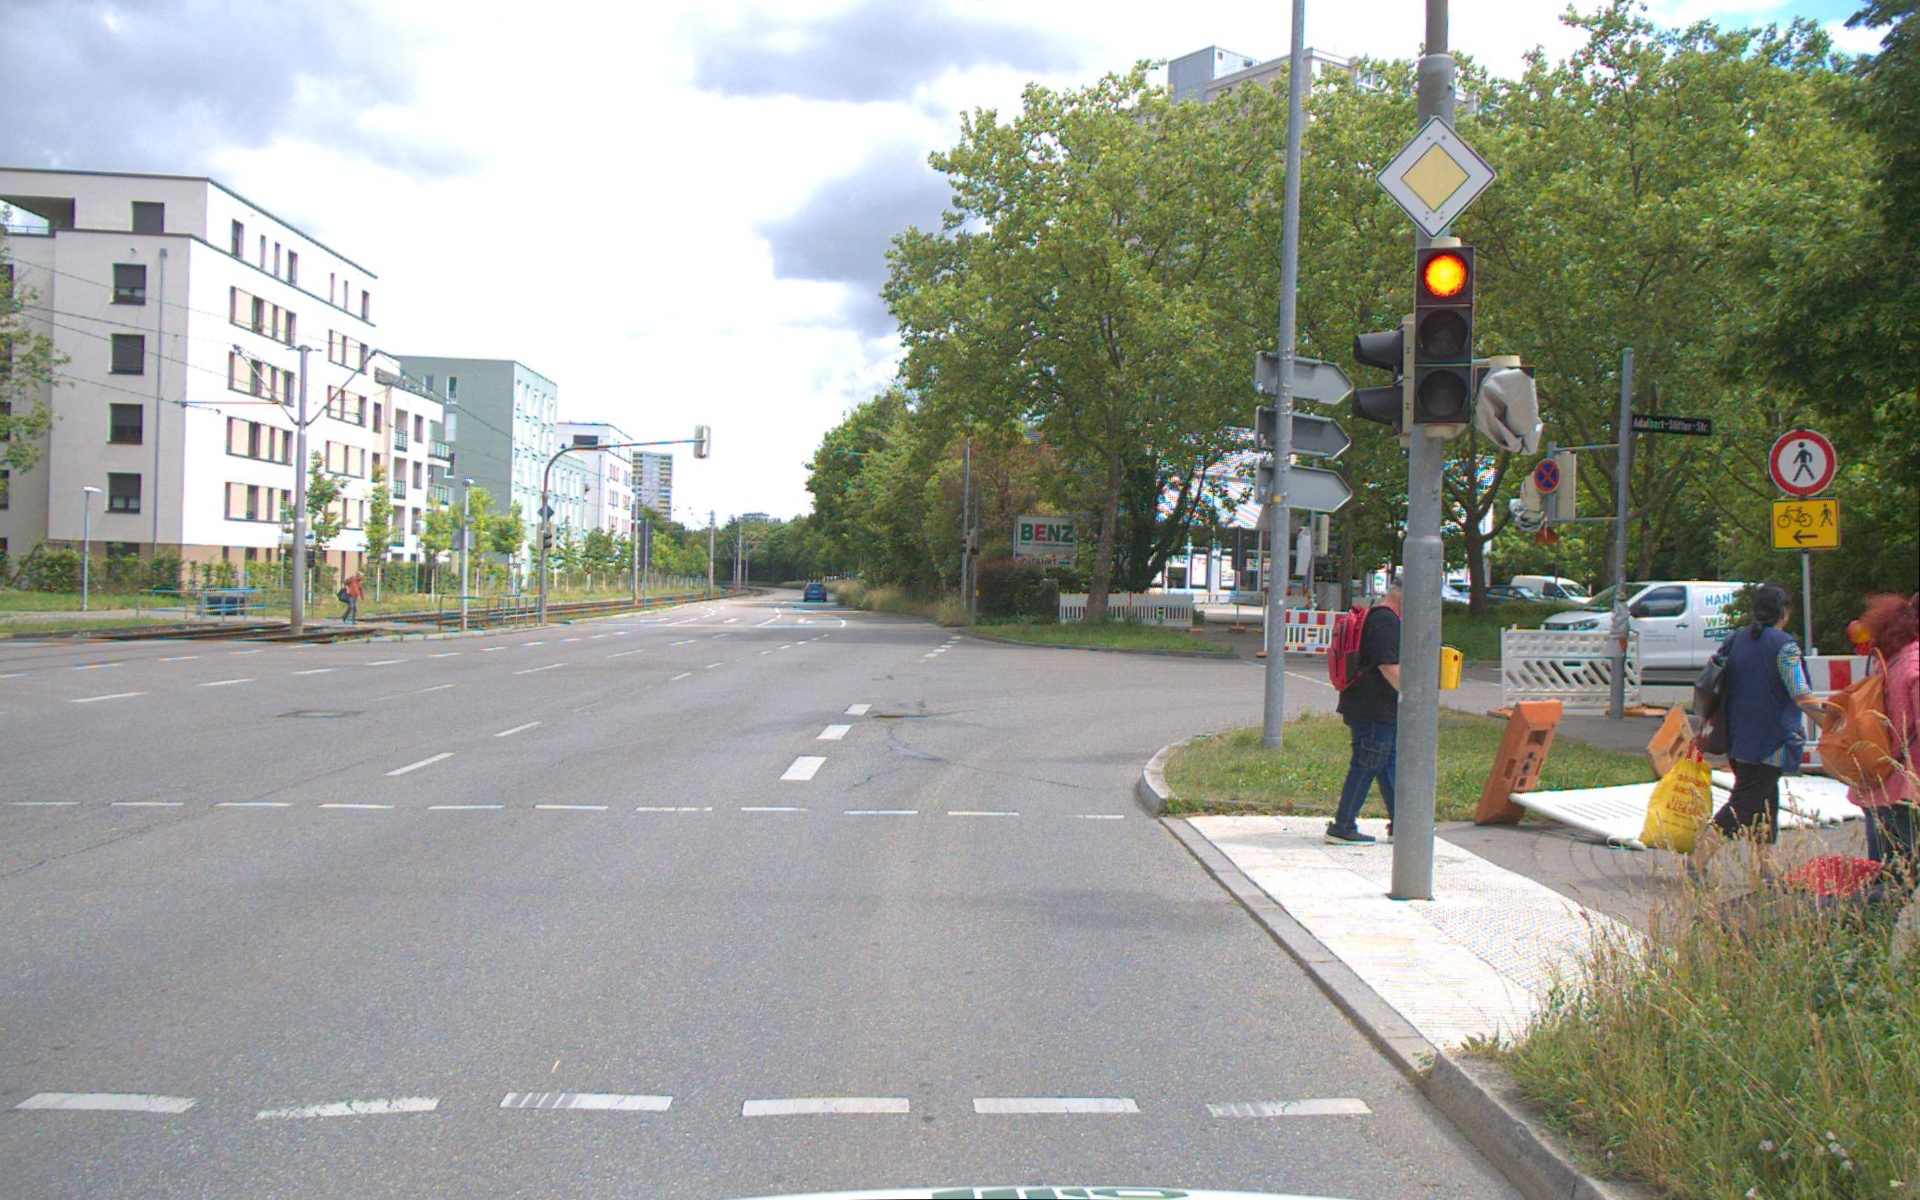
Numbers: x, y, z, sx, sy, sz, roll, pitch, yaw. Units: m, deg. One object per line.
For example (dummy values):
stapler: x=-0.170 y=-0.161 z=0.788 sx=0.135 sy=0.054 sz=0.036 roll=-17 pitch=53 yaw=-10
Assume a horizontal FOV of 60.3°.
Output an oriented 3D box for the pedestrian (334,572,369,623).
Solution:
pedestrian: x=-18.424 y=-0.079 z=50.084 sx=0.814 sy=1.542 sz=0.636 roll=1 pitch=0 yaw=-1

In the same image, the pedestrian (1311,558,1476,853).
pedestrian: x=2.556 y=0.576 z=9.709 sx=0.874 sy=1.624 sz=0.908 roll=1 pitch=0 yaw=17

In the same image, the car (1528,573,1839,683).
car: x=13.431 y=0.502 z=30.868 sx=4.976 sy=1.906 sz=1.947 roll=1 pitch=0 yaw=-5

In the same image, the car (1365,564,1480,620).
car: x=17.522 y=-0.310 z=62.835 sx=1.974 sy=2.049 sz=3.957 roll=0 pitch=1 yaw=-32

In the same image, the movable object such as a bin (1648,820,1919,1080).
movable object such as a bin: x=2.801 y=1.113 z=5.396 sx=0.779 sy=0.673 sz=0.778 roll=1 pitch=0 yaw=-1

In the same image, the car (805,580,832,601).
car: x=-10.874 y=-0.740 z=127.103 sx=1.944 sy=1.512 sz=4.485 roll=1 pitch=1 yaw=-6

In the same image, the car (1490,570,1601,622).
car: x=23.933 y=-0.177 z=67.706 sx=1.974 sy=2.049 sz=3.957 roll=0 pitch=1 yaw=-32

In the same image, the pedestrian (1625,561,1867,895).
pedestrian: x=4.084 y=0.626 z=8.679 sx=0.893 sy=1.635 sz=0.930 roll=1 pitch=0 yaw=8

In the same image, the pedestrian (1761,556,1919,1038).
pedestrian: x=3.438 y=0.649 z=5.813 sx=0.863 sy=1.582 sz=0.746 roll=1 pitch=0 yaw=-1

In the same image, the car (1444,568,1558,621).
car: x=21.366 y=-0.230 z=65.469 sx=1.974 sy=2.049 sz=3.957 roll=0 pitch=1 yaw=-32
